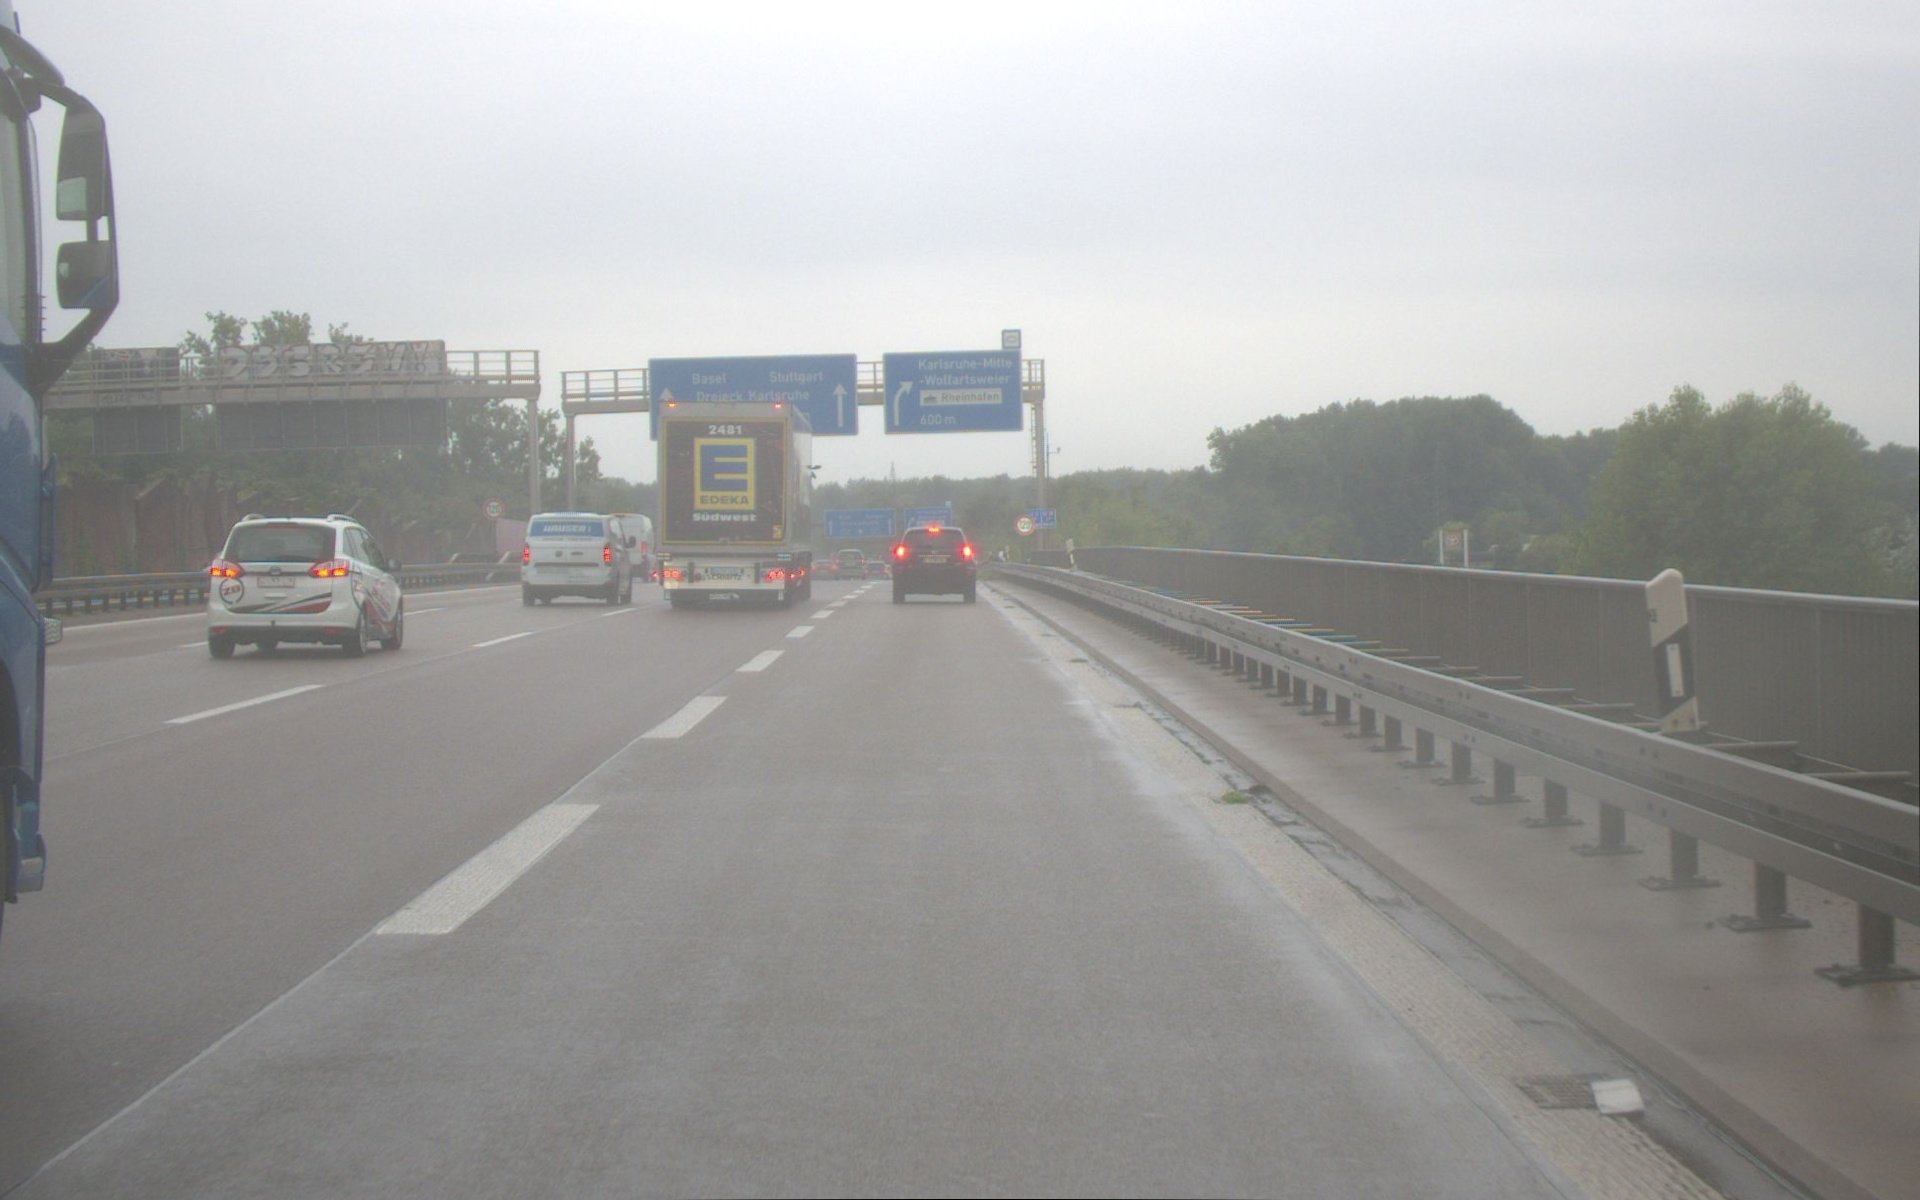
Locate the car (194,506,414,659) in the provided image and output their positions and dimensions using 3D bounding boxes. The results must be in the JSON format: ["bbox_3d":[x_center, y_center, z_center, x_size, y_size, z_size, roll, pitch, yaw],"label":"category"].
[{"bbox_3d":[-7.817,-0.217,41.303,1.894,1.718,4.000,1,1,-1],"label":"car"}]

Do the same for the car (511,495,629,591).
[{"bbox_3d":[-8.205,-1.193,72.614,2.049,1.943,4.000,1,1,-1],"label":"car"}]

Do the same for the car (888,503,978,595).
[{"bbox_3d":[-0.571,-1.121,76.050,1.897,1.943,4.000,1,1,1],"label":"car"}]

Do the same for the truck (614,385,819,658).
[{"bbox_3d":[-4.856,-1.545,70.595,3.533,5.165,9.893,1,1,-1],"label":"truck"}]

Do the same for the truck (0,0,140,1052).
[{"bbox_3d":[-3.896,-0.744,8.352,2.342,4.143,6.347,1,1,-1],"label":"truck"}]
